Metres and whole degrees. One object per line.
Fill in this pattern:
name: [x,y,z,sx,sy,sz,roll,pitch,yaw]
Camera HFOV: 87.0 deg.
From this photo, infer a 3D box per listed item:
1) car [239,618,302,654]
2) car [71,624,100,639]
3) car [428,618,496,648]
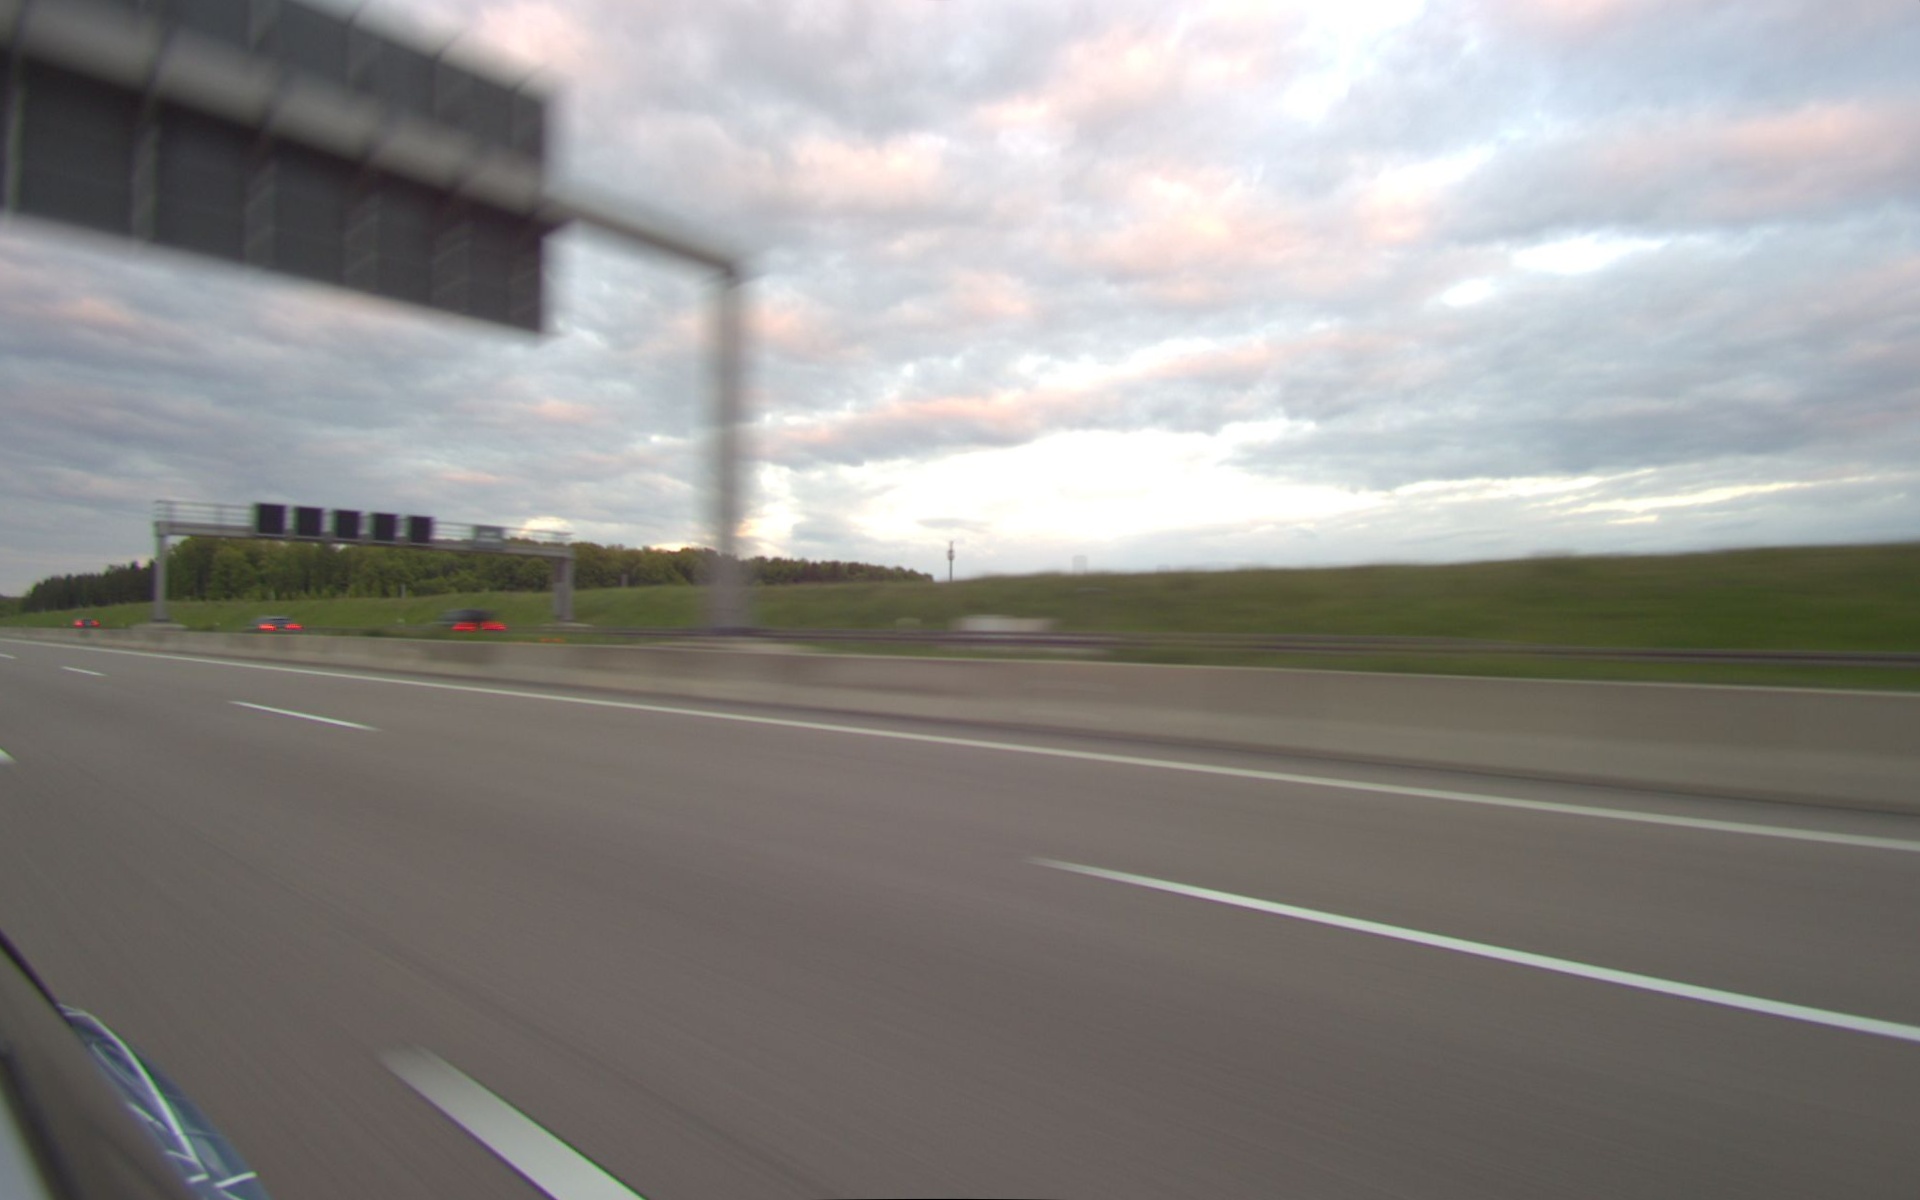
car: [-41.258,2.137,60.532,4.901,2.029,1.973,-1,-1,41]
car: [-108.600,3.928,125.696,5.085,1.841,1.973,-2,-2,41]
car: [-25.737,1.673,52.247,3.998,1.470,1.795,-1,-1,41]
